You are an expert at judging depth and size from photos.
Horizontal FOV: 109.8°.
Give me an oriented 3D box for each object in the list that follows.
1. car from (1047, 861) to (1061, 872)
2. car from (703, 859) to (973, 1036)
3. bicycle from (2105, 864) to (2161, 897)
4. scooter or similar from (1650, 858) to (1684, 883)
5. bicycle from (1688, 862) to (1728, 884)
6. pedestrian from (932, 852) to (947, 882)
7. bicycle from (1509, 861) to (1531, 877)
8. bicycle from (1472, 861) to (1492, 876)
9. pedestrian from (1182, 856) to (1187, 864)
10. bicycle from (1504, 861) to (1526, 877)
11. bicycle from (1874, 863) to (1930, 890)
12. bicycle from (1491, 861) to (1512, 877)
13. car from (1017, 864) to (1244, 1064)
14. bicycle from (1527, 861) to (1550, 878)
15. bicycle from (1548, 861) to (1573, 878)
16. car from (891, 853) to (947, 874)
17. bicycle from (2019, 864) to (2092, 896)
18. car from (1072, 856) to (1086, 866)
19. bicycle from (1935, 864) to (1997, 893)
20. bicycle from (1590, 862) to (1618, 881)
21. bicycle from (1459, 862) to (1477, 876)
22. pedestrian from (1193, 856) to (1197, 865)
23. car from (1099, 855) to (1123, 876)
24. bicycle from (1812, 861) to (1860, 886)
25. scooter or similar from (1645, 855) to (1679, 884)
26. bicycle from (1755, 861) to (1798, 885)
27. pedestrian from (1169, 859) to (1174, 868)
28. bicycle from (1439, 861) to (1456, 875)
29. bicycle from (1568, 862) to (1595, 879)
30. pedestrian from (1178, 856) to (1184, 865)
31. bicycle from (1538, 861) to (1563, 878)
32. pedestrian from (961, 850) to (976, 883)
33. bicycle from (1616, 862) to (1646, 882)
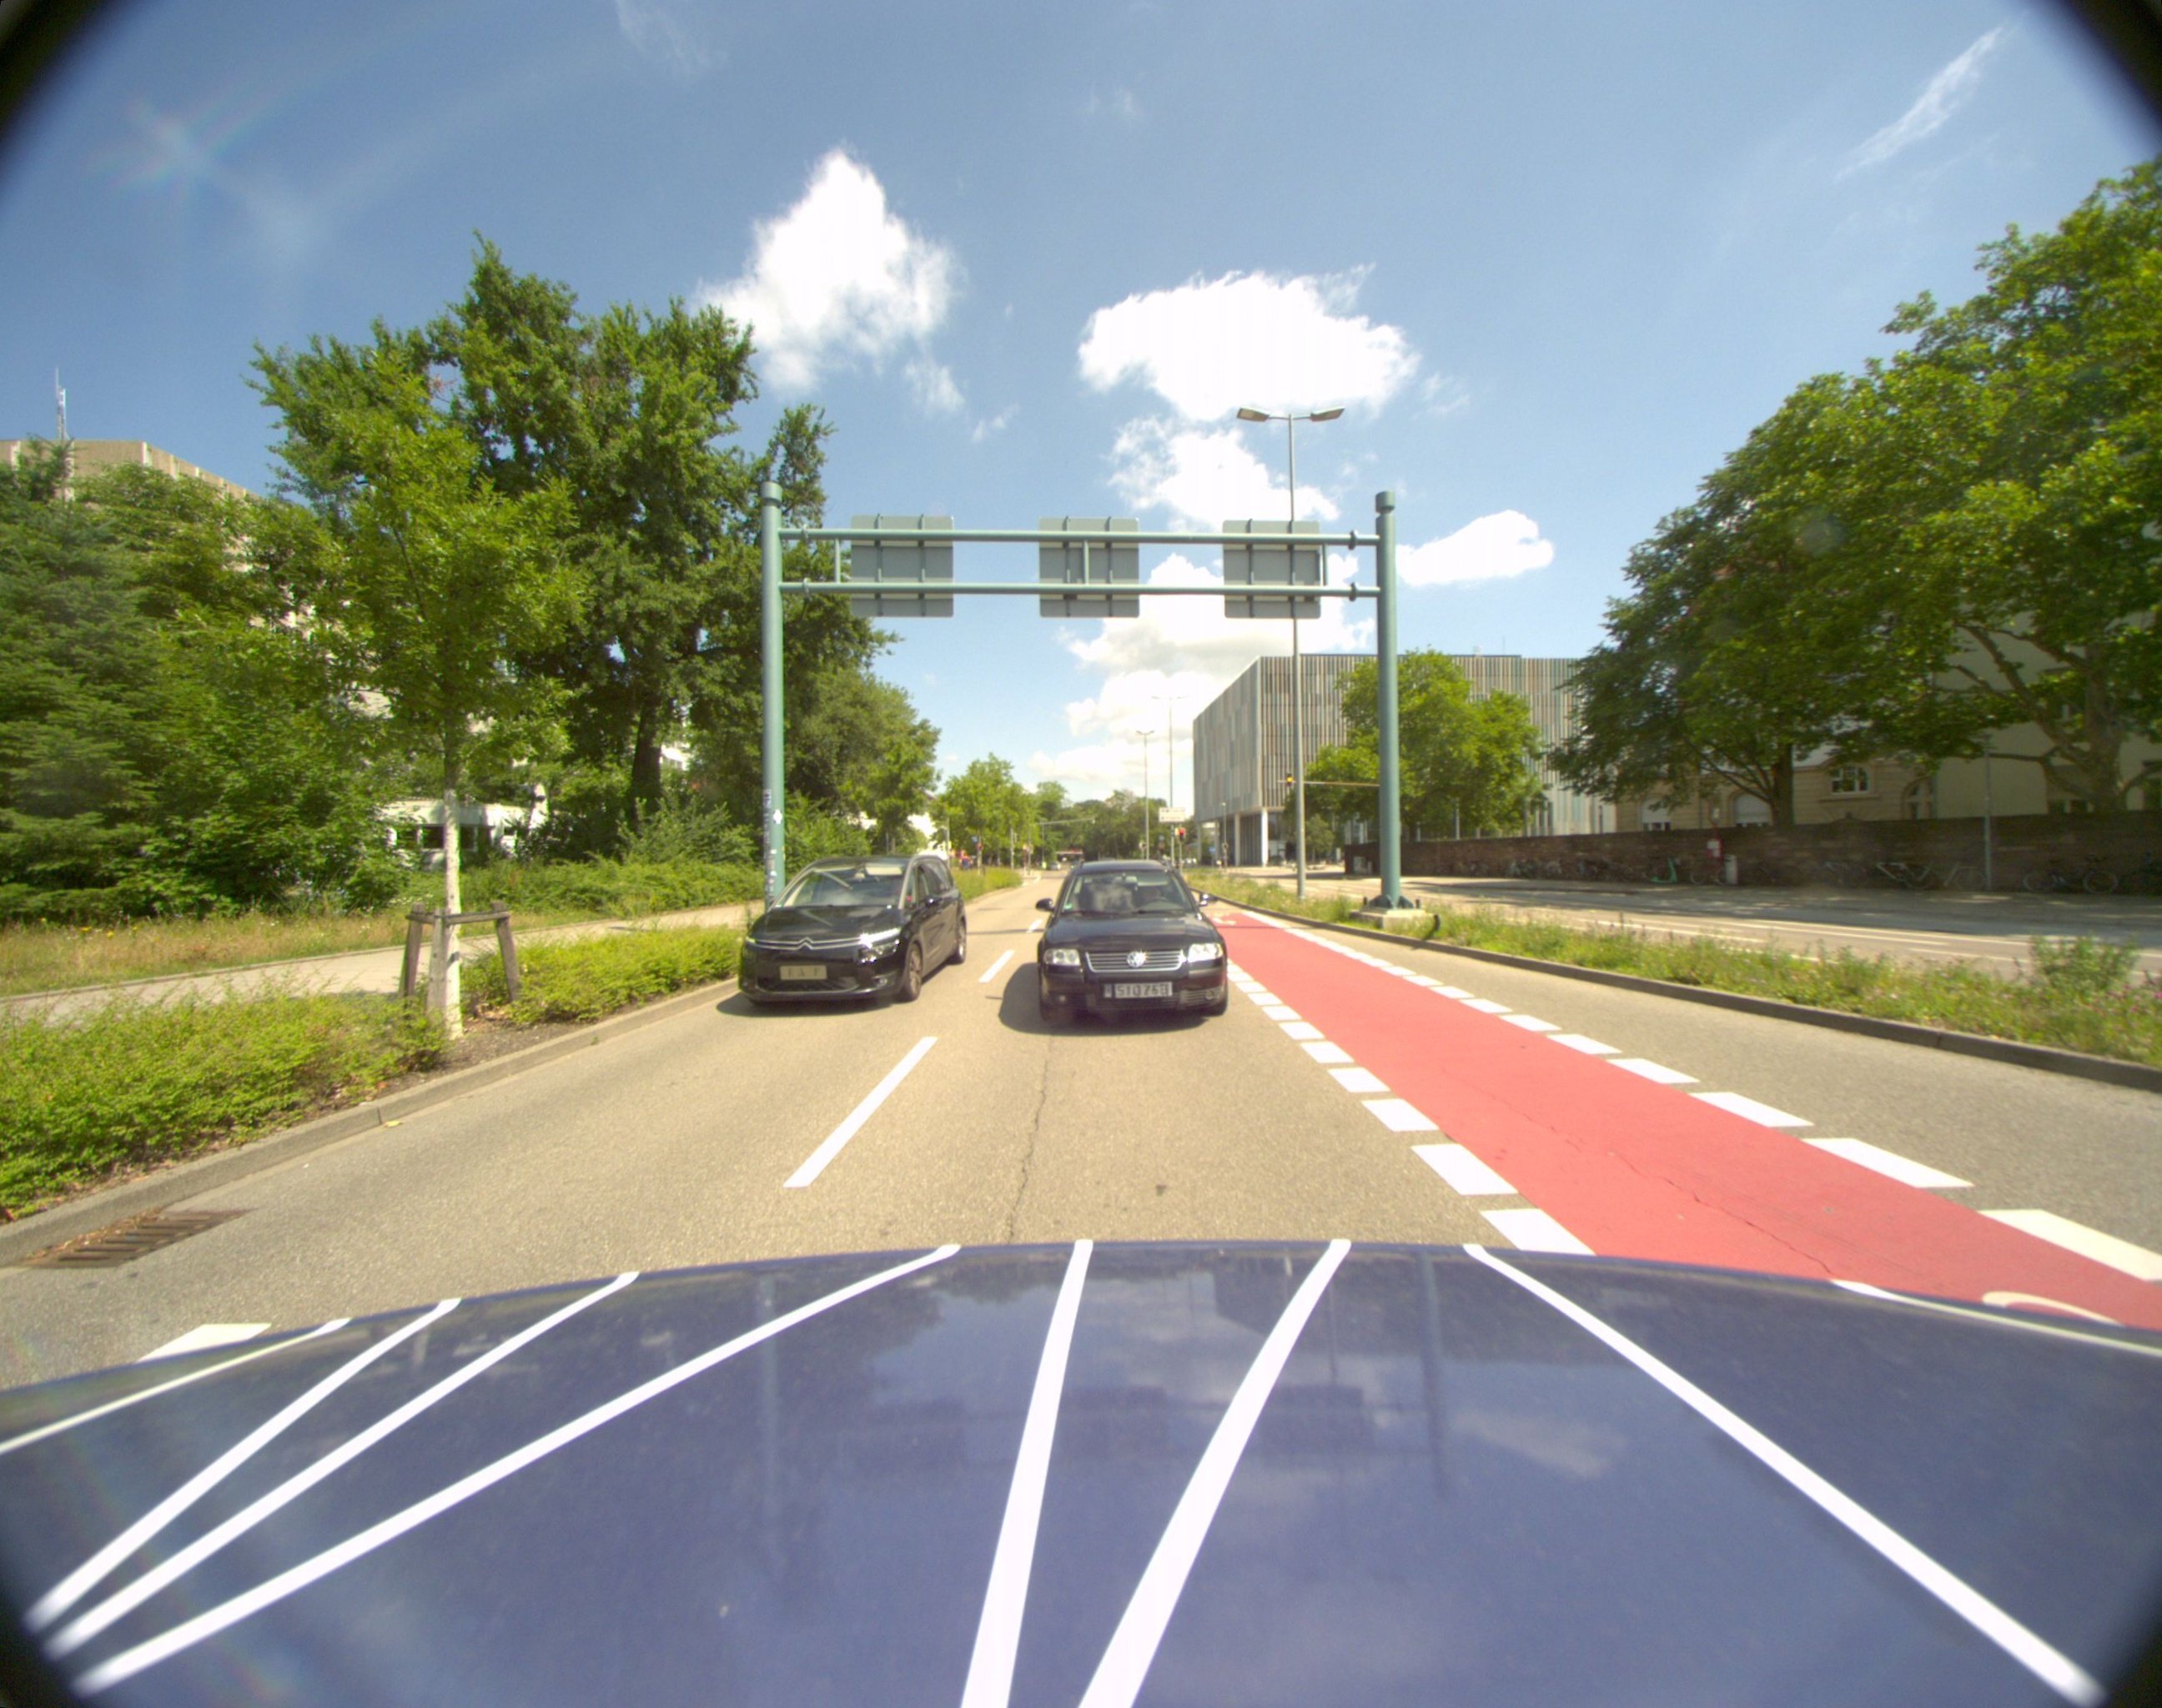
[{"bbox_3d":[-4.326,1.956,122.148,1.816,1.598,4.479,-3,0,1],"label":"car"},{"bbox_3d":[-2.647,0.913,9.511,1.816,1.598,4.479,-3,0,1],"label":"car"},{"bbox_3d":[27.123,0.669,19.359,0.265,0.826,1.234,-1,0,-13],"label":"bicycle"},{"bbox_3d":[24.571,0.679,31.863,0.266,1.014,1.140,-1,0,-22],"label":"scooter or similar"},{"bbox_3d":[24.815,0.743,30.093,0.265,0.826,1.233,-1,0,-21],"label":"bicycle"},{"bbox_3d":[-9.871,0.882,52.833,0.847,2.026,0.900,-1,0,-22],"label":"pedestrian"},{"bbox_3d":[23.356,0.794,40.421,0.265,0.826,1.234,-1,0,-11],"label":"bicycle"},{"bbox_3d":[22.925,0.815,43.443,0.265,0.826,1.234,-1,0,-11],"label":"bicycle"},{"bbox_3d":[17.761,1.003,130.235,0.696,1.445,0.689,-1,0,5],"label":"pedestrian"},{"bbox_3d":[22.894,0.807,40.106,0.265,0.826,1.234,-1,0,-11],"label":"bicycle"},{"bbox_3d":[25.971,0.704,24.051,0.265,0.826,1.235,-1,0,-11],"label":"bicycle"},{"bbox_3d":[23.150,0.822,41.816,0.265,0.826,1.234,-1,0,-11],"label":"bicycle"},{"bbox_3d":[0.421,0.898,8.298,1.723,1.472,4.594,-3,0,1],"label":"car"},{"bbox_3d":[23.466,0.791,39.011,0.265,0.826,1.235,-1,0,-11],"label":"bicycle"},{"bbox_3d":[23.660,0.752,37.482,0.265,0.826,1.235,-1,0,-11],"label":"bicycle"},{"bbox_3d":[-14.017,0.829,65.845,4.477,1.598,1.817,-3,0,-4],"label":"car"},{"bbox_3d":[26.643,0.692,20.788,0.265,0.826,1.234,-1,0,-13],"label":"bicycle"},{"bbox_3d":[-0.226,0.936,103.048,1.806,1.361,4.157,-1,1,1],"label":"car"},{"bbox_3d":[26.238,0.725,22.542,0.265,0.826,1.235,-1,0,-11],"label":"bicycle"},{"bbox_3d":[23.973,0.787,34.839,0.265,0.826,1.235,-1,0,-11],"label":"bicycle"},{"bbox_3d":[22.805,0.860,44.767,0.265,0.826,1.235,-1,0,-11],"label":"bicycle"},{"bbox_3d":[18.565,1.010,123.819,0.696,1.445,0.689,-1,0,4],"label":"pedestrian"},{"bbox_3d":[2.356,0.905,60.164,1.723,1.545,4.594,-3,0,1],"label":"car"},{"bbox_3d":[25.680,0.662,25.864,0.265,0.826,1.235,-1,0,-11],"label":"bicycle"},{"bbox_3d":[23.816,0.626,31.184,0.265,1.182,1.234,-1,0,-11],"label":"scooter or similar"},{"bbox_3d":[25.184,0.683,27.533,0.265,0.826,1.235,-1,0,-11],"label":"bicycle"},{"bbox_3d":[16.203,1.652,135.825,0.864,1.647,0.995,-1,0,-1],"label":"pedestrian"},{"bbox_3d":[22.487,0.858,46.662,0.265,0.826,1.235,-1,0,-11],"label":"bicycle"},{"bbox_3d":[23.834,0.784,36.207,0.265,0.826,1.235,-1,0,-11],"label":"bicycle"},{"bbox_3d":[15.218,0.997,115.478,0.697,1.445,0.688,-1,0,-6],"label":"pedestrian"},{"bbox_3d":[23.182,0.753,37.539,0.265,0.826,1.234,-1,0,-11],"label":"bicycle"},{"bbox_3d":[-6.140,0.662,41.364,0.639,1.754,0.886,-1,0,1],"label":"pedestrian"},{"bbox_3d":[24.137,0.775,33.354,0.265,0.826,1.235,-1,0,-11],"label":"bicycle"}]
